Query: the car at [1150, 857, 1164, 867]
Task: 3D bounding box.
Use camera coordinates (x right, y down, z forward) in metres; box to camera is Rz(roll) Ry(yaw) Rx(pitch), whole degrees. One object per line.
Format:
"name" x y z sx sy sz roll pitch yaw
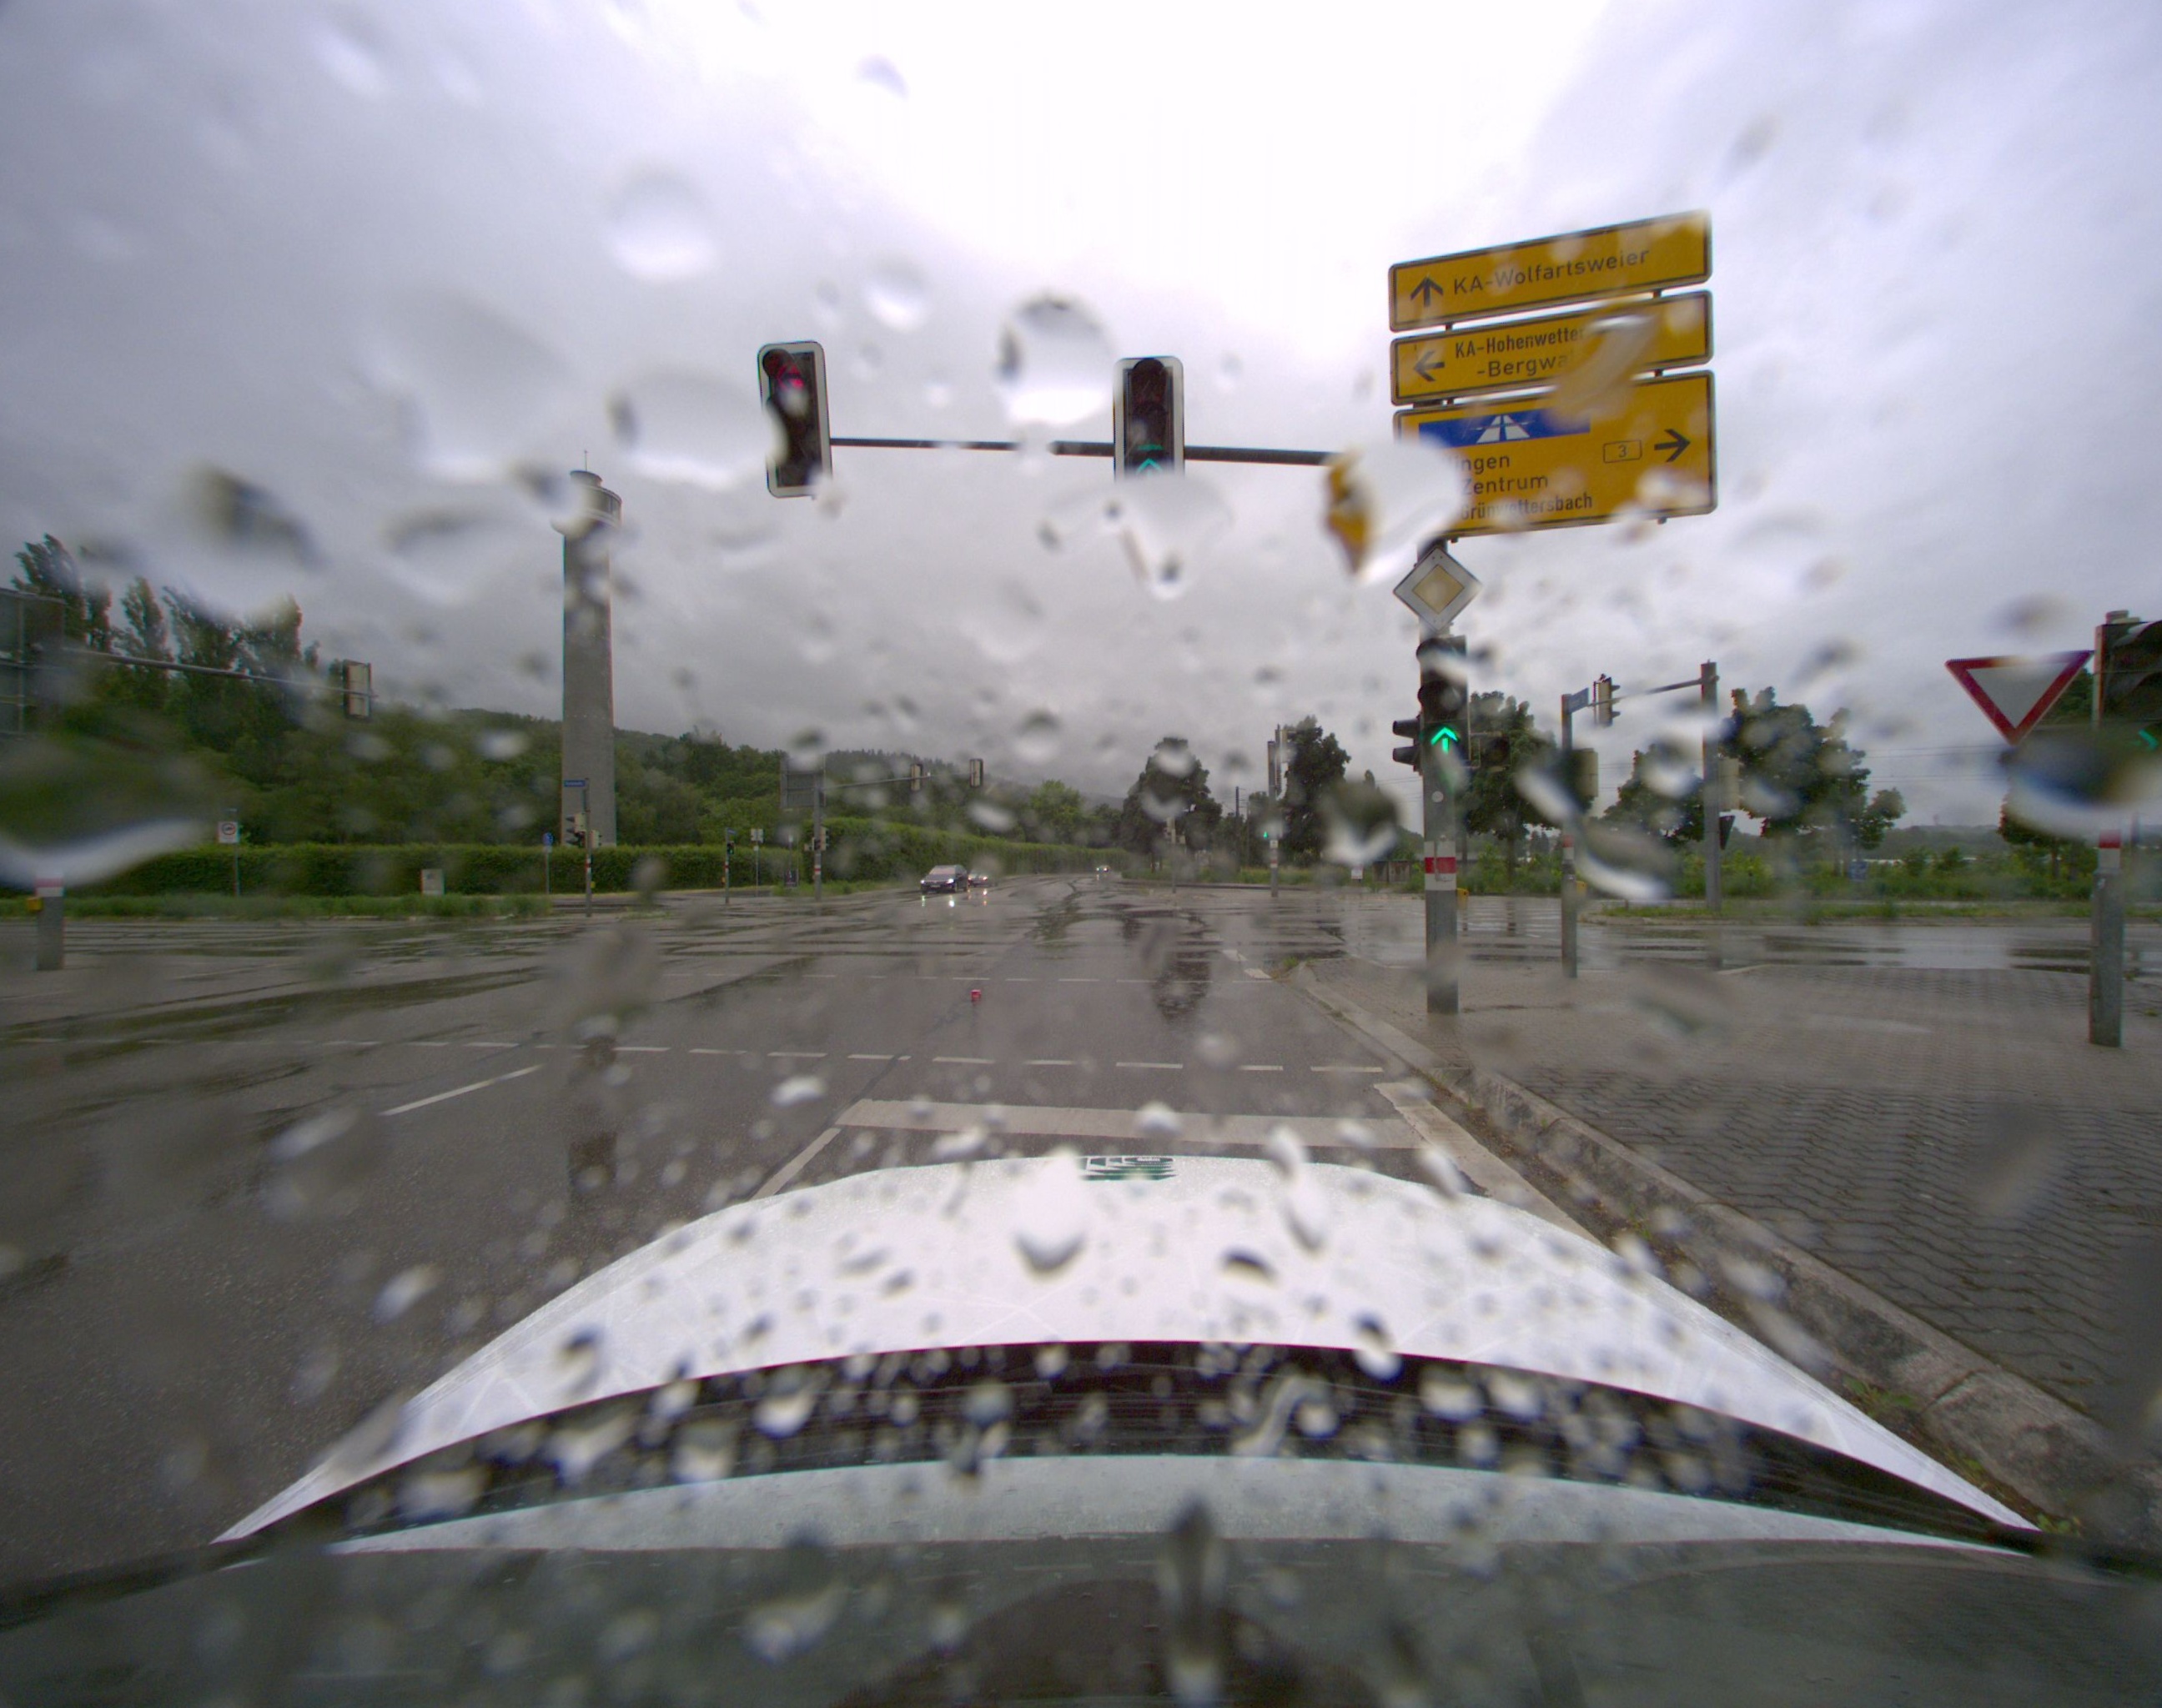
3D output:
"car" 15.261 1.678 163.095 1.939 1.904 4.137 -1 0 15

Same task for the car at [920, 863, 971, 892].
"car" -7.220 1.229 43.799 1.701 1.466 4.458 -1 0 4

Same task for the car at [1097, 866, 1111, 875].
"car" 3.938 2.817 137.147 1.774 1.505 4.071 -1 -1 9

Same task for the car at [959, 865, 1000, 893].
"car" -6.701 1.622 54.052 2.029 1.708 4.067 -1 0 2
